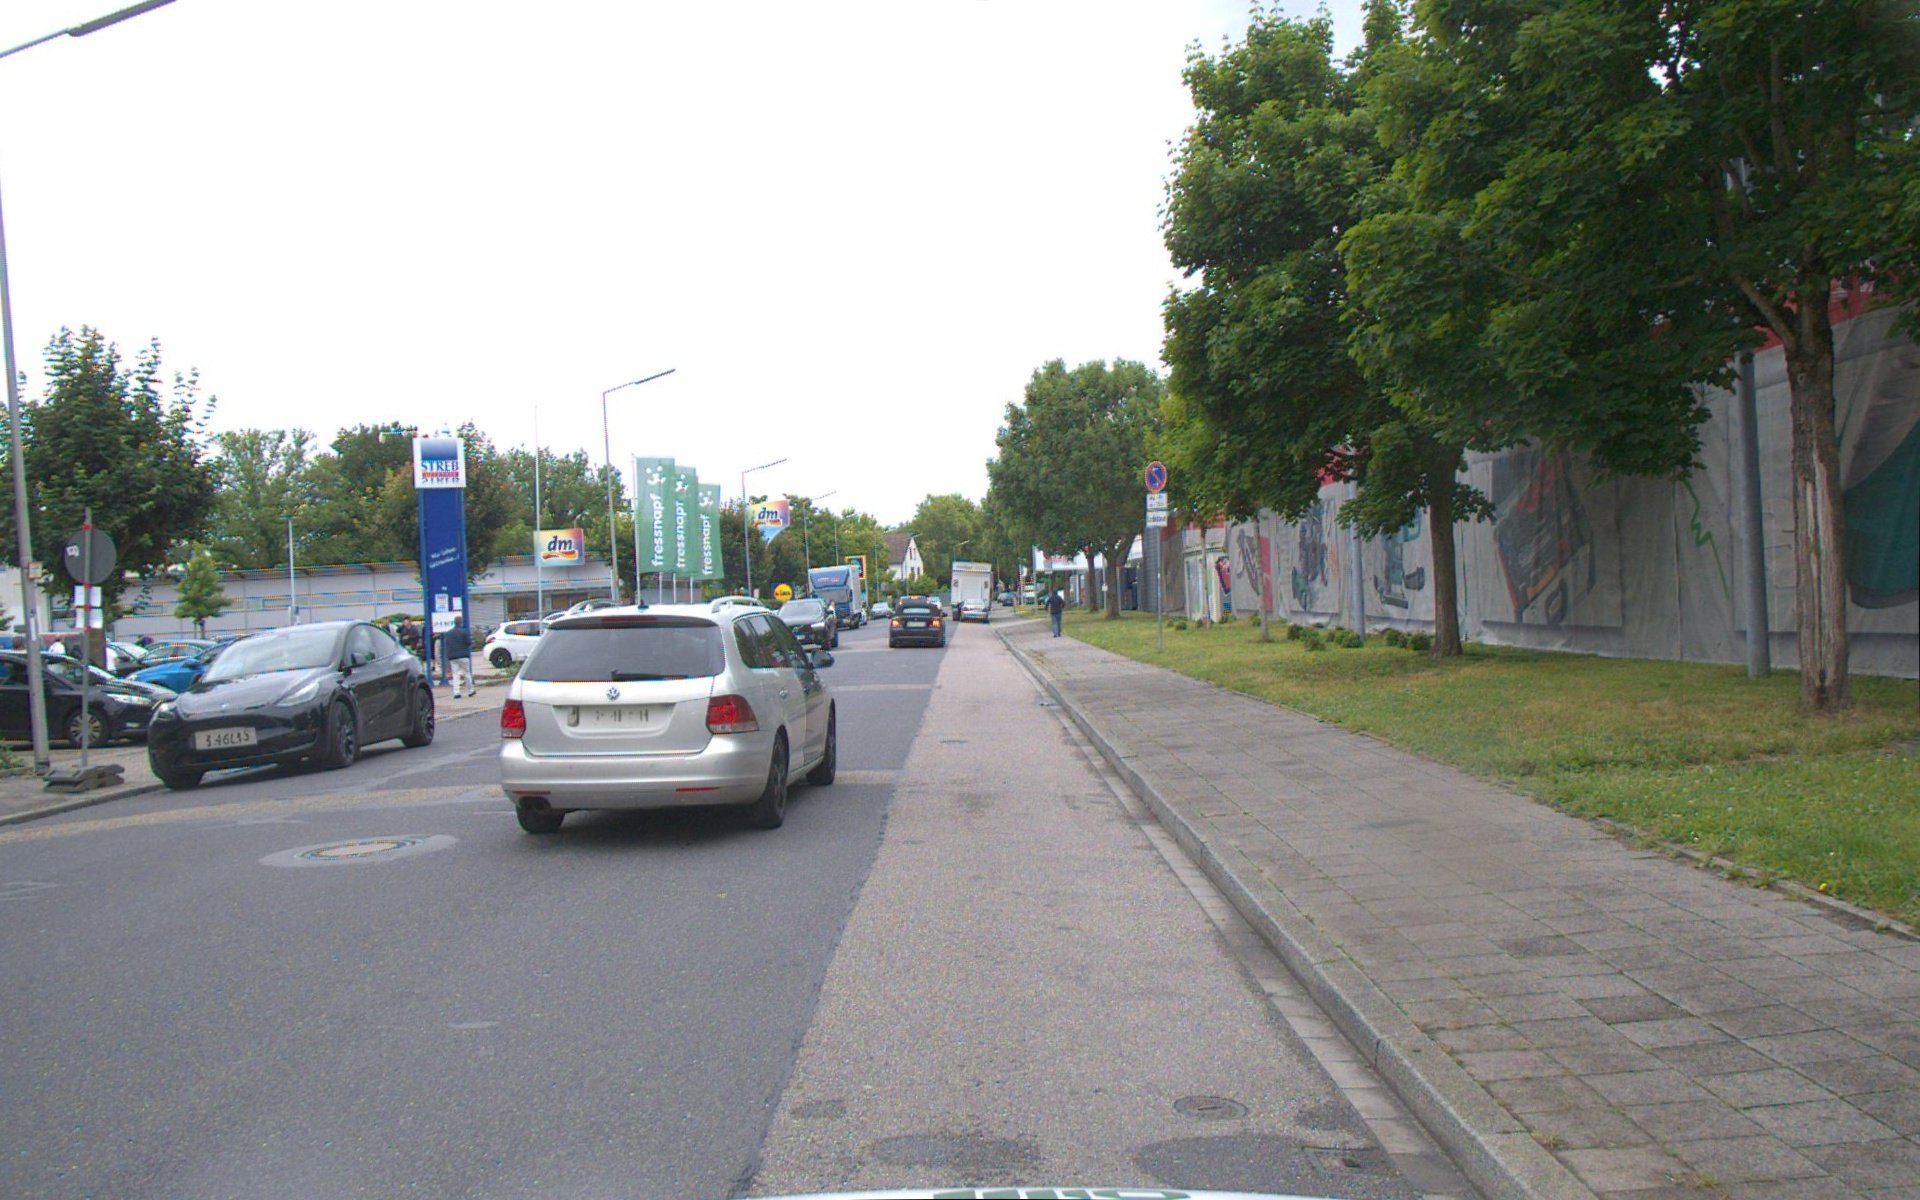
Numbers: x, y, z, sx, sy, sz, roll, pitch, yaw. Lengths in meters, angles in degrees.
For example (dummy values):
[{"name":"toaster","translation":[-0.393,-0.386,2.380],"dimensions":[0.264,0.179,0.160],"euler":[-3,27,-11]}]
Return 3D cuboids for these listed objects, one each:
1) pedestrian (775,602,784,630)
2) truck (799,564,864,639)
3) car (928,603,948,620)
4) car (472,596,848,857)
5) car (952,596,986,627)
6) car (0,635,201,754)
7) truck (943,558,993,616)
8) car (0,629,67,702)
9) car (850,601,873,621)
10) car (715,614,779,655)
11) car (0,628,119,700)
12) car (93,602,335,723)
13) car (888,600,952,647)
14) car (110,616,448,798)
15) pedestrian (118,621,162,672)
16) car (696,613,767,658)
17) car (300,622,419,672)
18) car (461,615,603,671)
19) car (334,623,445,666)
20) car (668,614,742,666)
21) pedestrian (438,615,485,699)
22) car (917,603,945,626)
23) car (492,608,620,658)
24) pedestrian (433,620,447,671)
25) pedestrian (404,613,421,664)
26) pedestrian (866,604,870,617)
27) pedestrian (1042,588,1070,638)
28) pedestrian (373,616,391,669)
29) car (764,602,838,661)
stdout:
[{"name":"pedestrian","translation":[-10.417,0.915,95.379],"dimensions":[0.394,1.558,0.485],"euler":[-3,0,-6]},{"name":"truck","translation":[-7.484,0.091,96.939],"dimensions":[2.913,4.024,6.405],"euler":[-4,0,1]},{"name":"car","translation":[-2.317,1.201,174.046],"dimensions":[1.848,1.558,4.254],"euler":[-4,0,1]},{"name":"car","translation":[-1.900,0.734,11.787],"dimensions":[1.717,1.476,4.298],"euler":[-1,0,2]},{"name":"car","translation":[0.535,0.731,102.090],"dimensions":[1.953,1.837,3.999],"euler":[-1,-1,-1]},{"name":"car","translation":[-13.871,1.424,25.076],"dimensions":[3.794,1.649,1.928],"euler":[-2,0,0]},{"name":"truck","translation":[0.463,-0.772,111.405],"dimensions":[3.071,3.647,10.048],"euler":[-1,-1,-1]},{"name":"car","translation":[-24.553,1.691,40.852],"dimensions":[3.905,1.698,1.876],"euler":[-3,0,0]},{"name":"car","translation":[-7.844,0.880,132.019],"dimensions":[1.671,1.573,3.620],"euler":[-1,-1,-1]},{"name":"car","translation":[-8.116,1.279,63.386],"dimensions":[1.859,1.391,4.000],"euler":[-3,0,0]},{"name":"car","translation":[-24.481,1.713,43.266],"dimensions":[3.905,1.698,1.876],"euler":[-3,0,0]},{"name":"car","translation":[-14.527,1.186,32.398],"dimensions":[3.855,2.048,1.758],"euler":[-4,0,-7]},{"name":"car","translation":[-1.230,0.735,52.610],"dimensions":[1.709,1.382,4.139],"euler":[-3,-1,2]},{"name":"car","translation":[-7.466,1.086,18.676],"dimensions":[1.908,1.552,4.401],"euler":[-7,0,-1]},{"name":"pedestrian","translation":[-34.562,1.962,69.719],"dimensions":[1.375,2.048,1.193],"euler":[-3,0,-40]},{"name":"car","translation":[-7.952,1.221,57.894],"dimensions":[1.859,1.391,4.000],"euler":[-3,0,0]},{"name":"car","translation":[-23.628,1.837,65.117],"dimensions":[3.905,1.698,1.876],"euler":[-3,0,0]},{"name":"car","translation":[-13.810,1.355,53.555],"dimensions":[4.124,1.488,1.950],"euler":[-4,0,-7]},{"name":"car","translation":[-23.736,1.845,68.898],"dimensions":[3.905,1.518,1.786],"euler":[-3,0,1]},{"name":"car","translation":[-7.919,1.217,51.705],"dimensions":[1.861,1.391,3.997],"euler":[-4,0,-4]},{"name":"pedestrian","translation":[-10.689,1.219,35.495],"dimensions":[0.760,1.745,0.696],"euler":[-2,0,-4]},{"name":"car","translation":[-2.113,1.048,120.603],"dimensions":[1.847,1.558,4.254],"euler":[-1,0,1]},{"name":"car","translation":[-14.243,1.146,58.473],"dimensions":[4.055,1.488,1.896],"euler":[-3,0,-5]},{"name":"pedestrian","translation":[-16.415,1.425,52.199],"dimensions":[0.324,1.597,0.502],"euler":[-1,0,-11]},{"name":"pedestrian","translation":[-17.439,1.214,52.683],"dimensions":[0.352,1.597,0.503],"euler":[-3,0,-10]},{"name":"pedestrian","translation":[-7.239,0.829,130.391],"dimensions":[0.244,0.993,0.343],"euler":[-2,-1,9]},{"name":"pedestrian","translation":[3.295,0.452,56.731],"dimensions":[0.900,1.663,0.853],"euler":[-1,-1,2]},{"name":"pedestrian","translation":[-18.421,1.351,52.710],"dimensions":[0.448,1.670,0.372],"euler":[-3,0,-17]},{"name":"car","translation":[-5.088,0.987,53.388],"dimensions":[1.953,1.713,3.999],"euler":[-4,0,-1]}]
